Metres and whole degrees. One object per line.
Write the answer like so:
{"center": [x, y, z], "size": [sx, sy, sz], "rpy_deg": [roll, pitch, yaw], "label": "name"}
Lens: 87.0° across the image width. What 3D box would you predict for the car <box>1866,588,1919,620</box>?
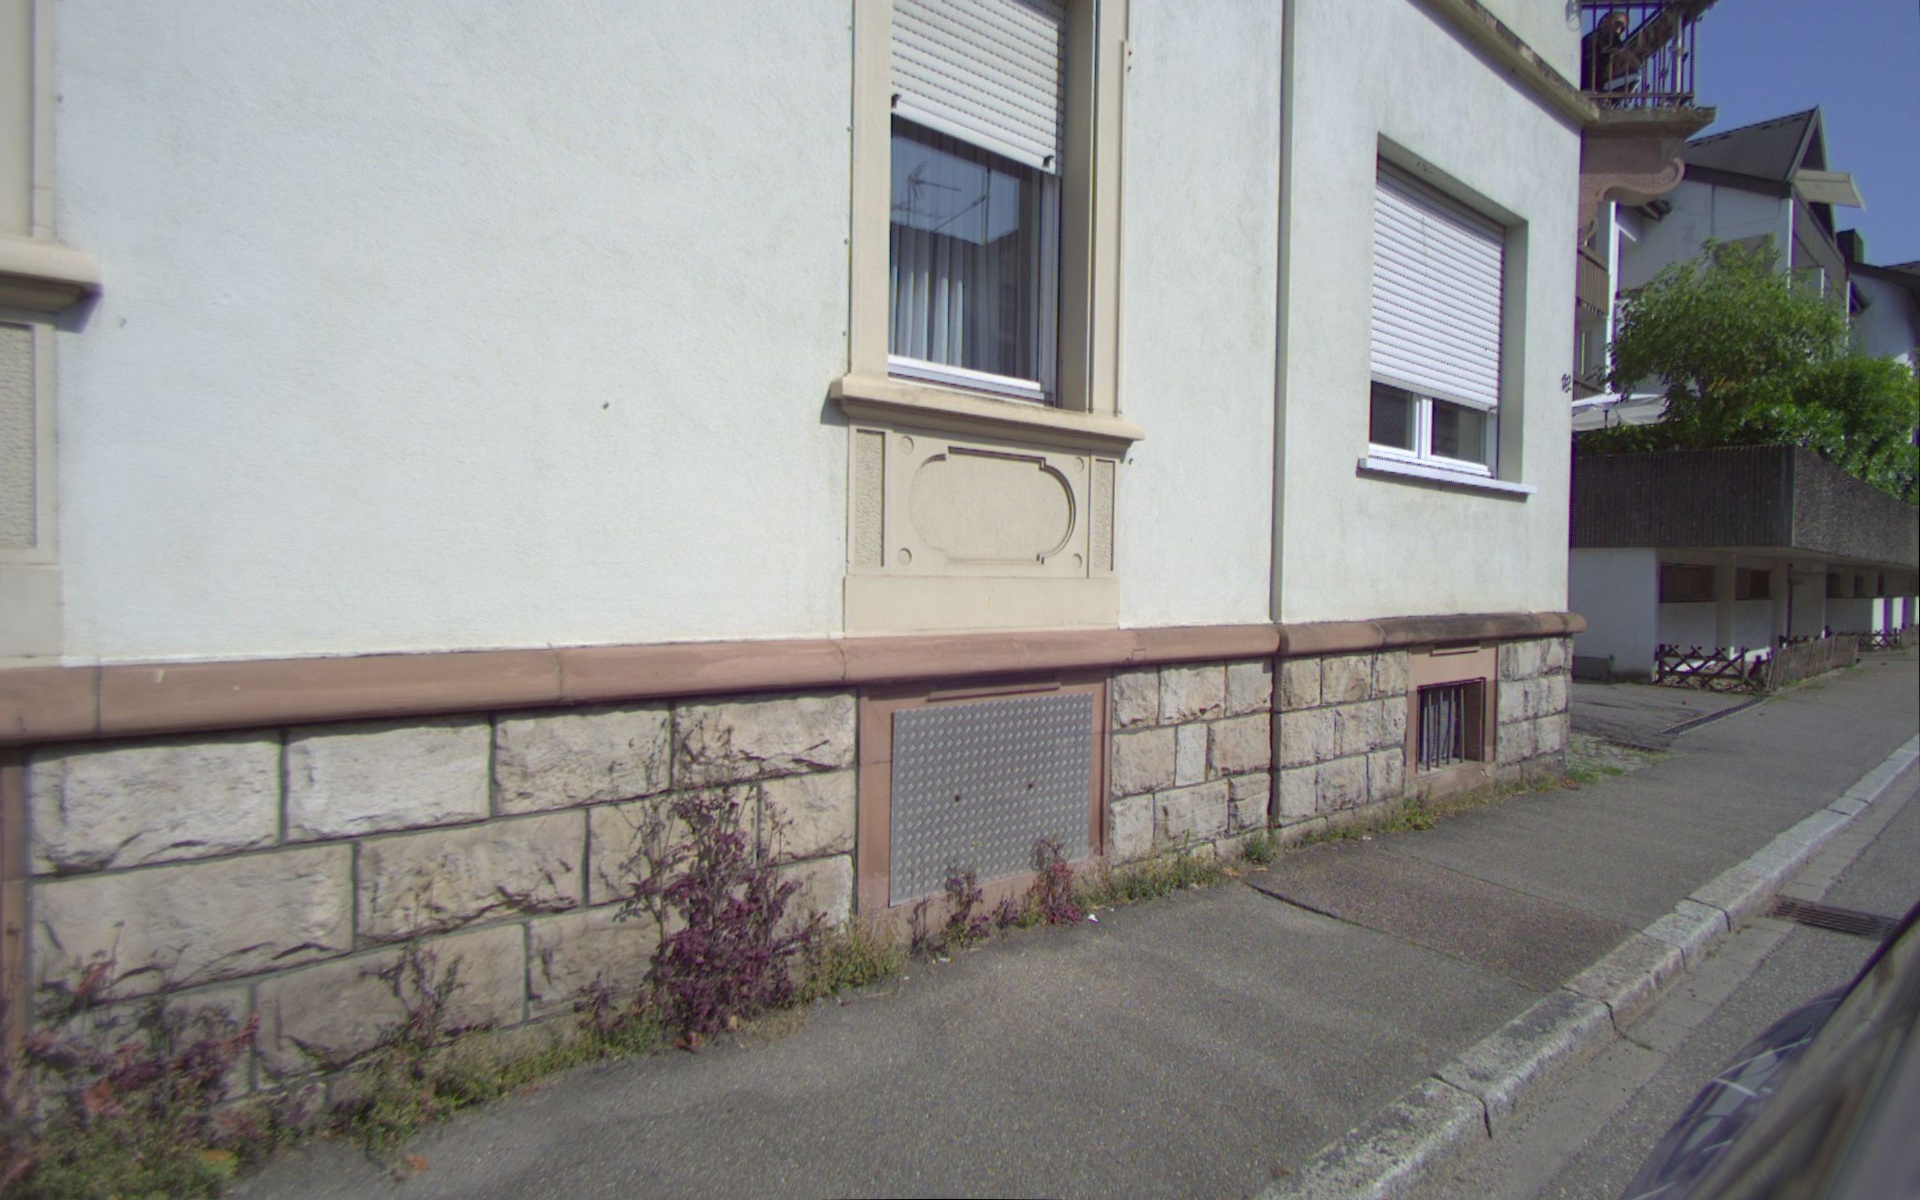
{"center": [46.205, 0.205, 48.654], "size": [1.672, 1.498, 3.830], "rpy_deg": [1, 0, -43], "label": "car"}
